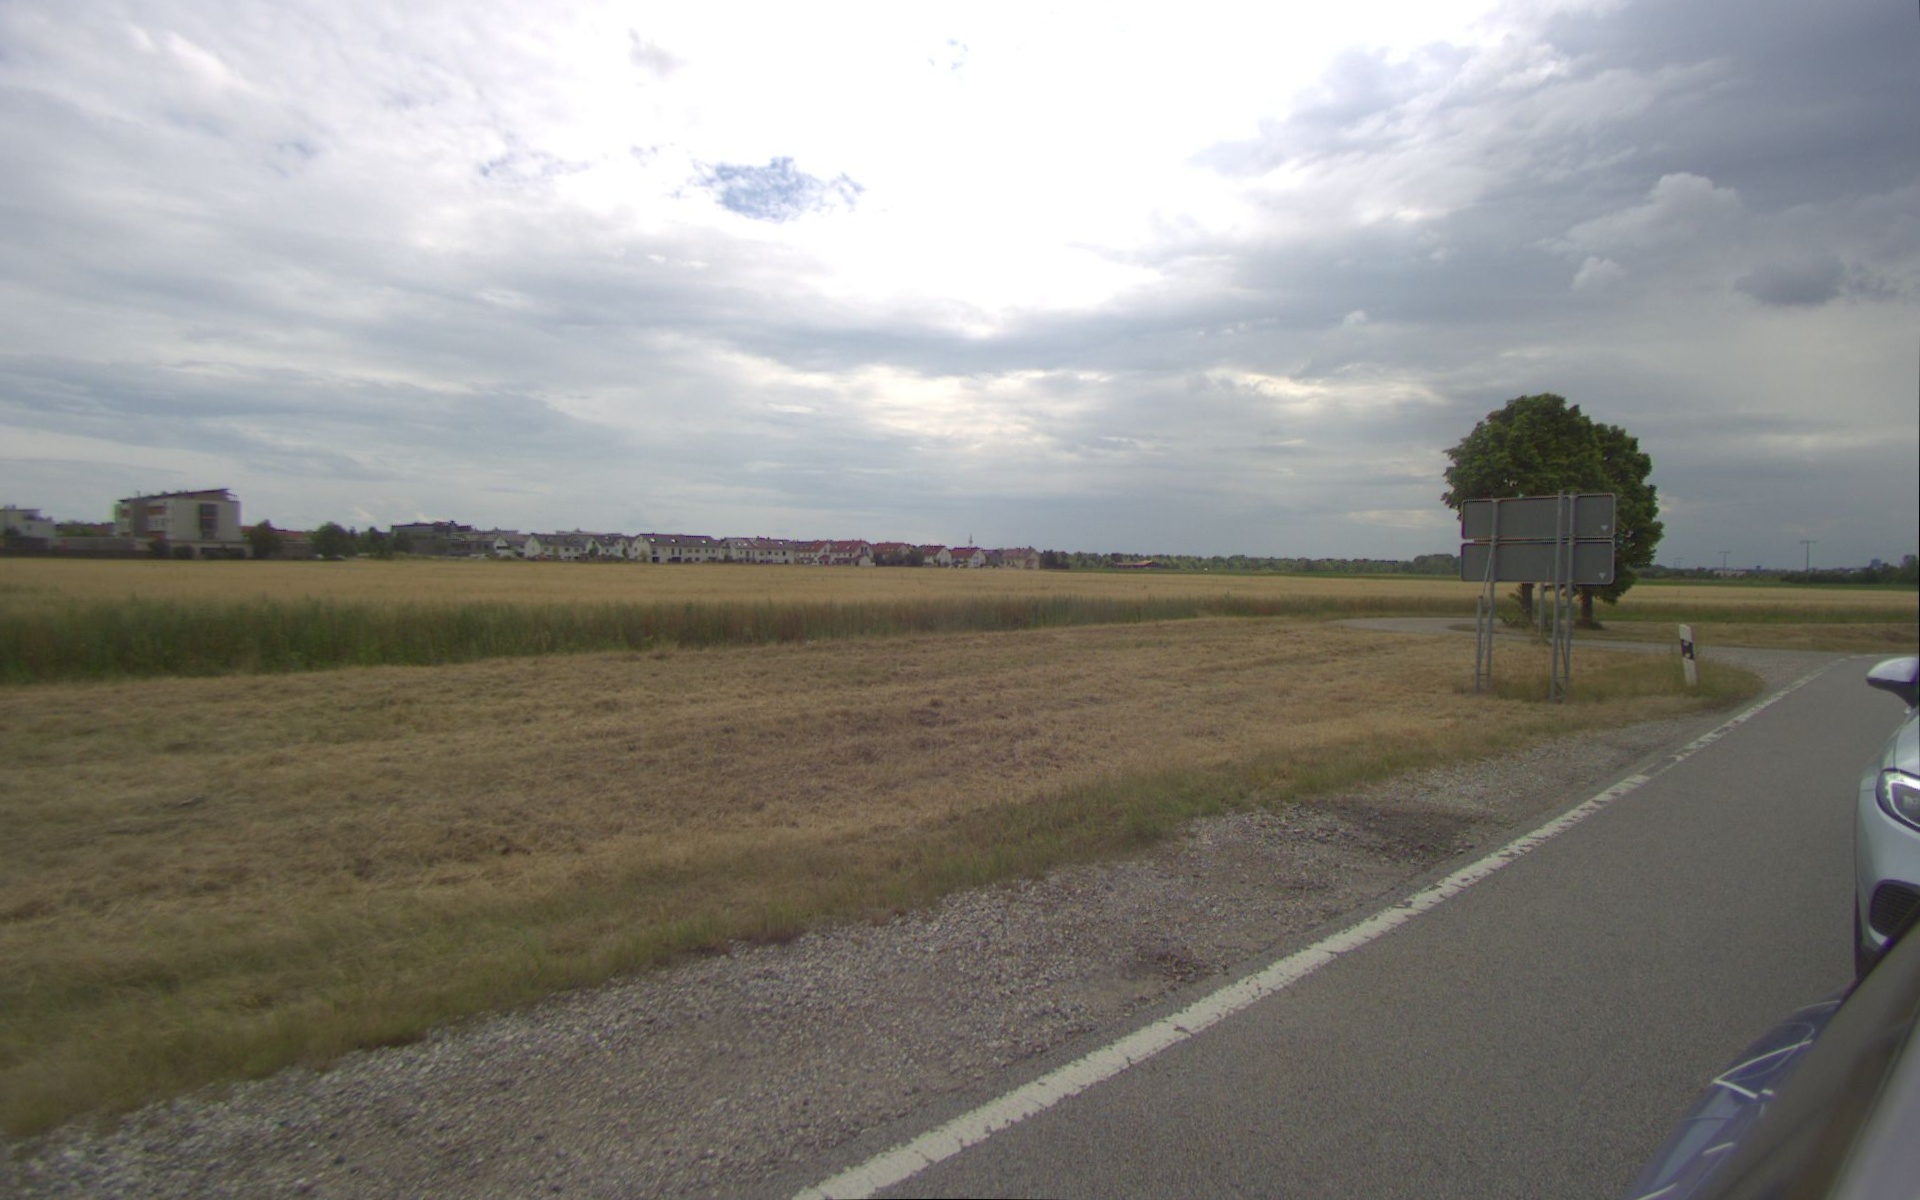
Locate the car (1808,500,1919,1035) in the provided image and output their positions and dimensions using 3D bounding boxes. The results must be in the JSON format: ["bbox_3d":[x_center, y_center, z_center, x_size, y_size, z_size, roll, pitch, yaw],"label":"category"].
[{"bbox_3d":[4.929,0.510,4.039,4.375,1.606,1.834,-1,3,-43],"label":"car"}]
